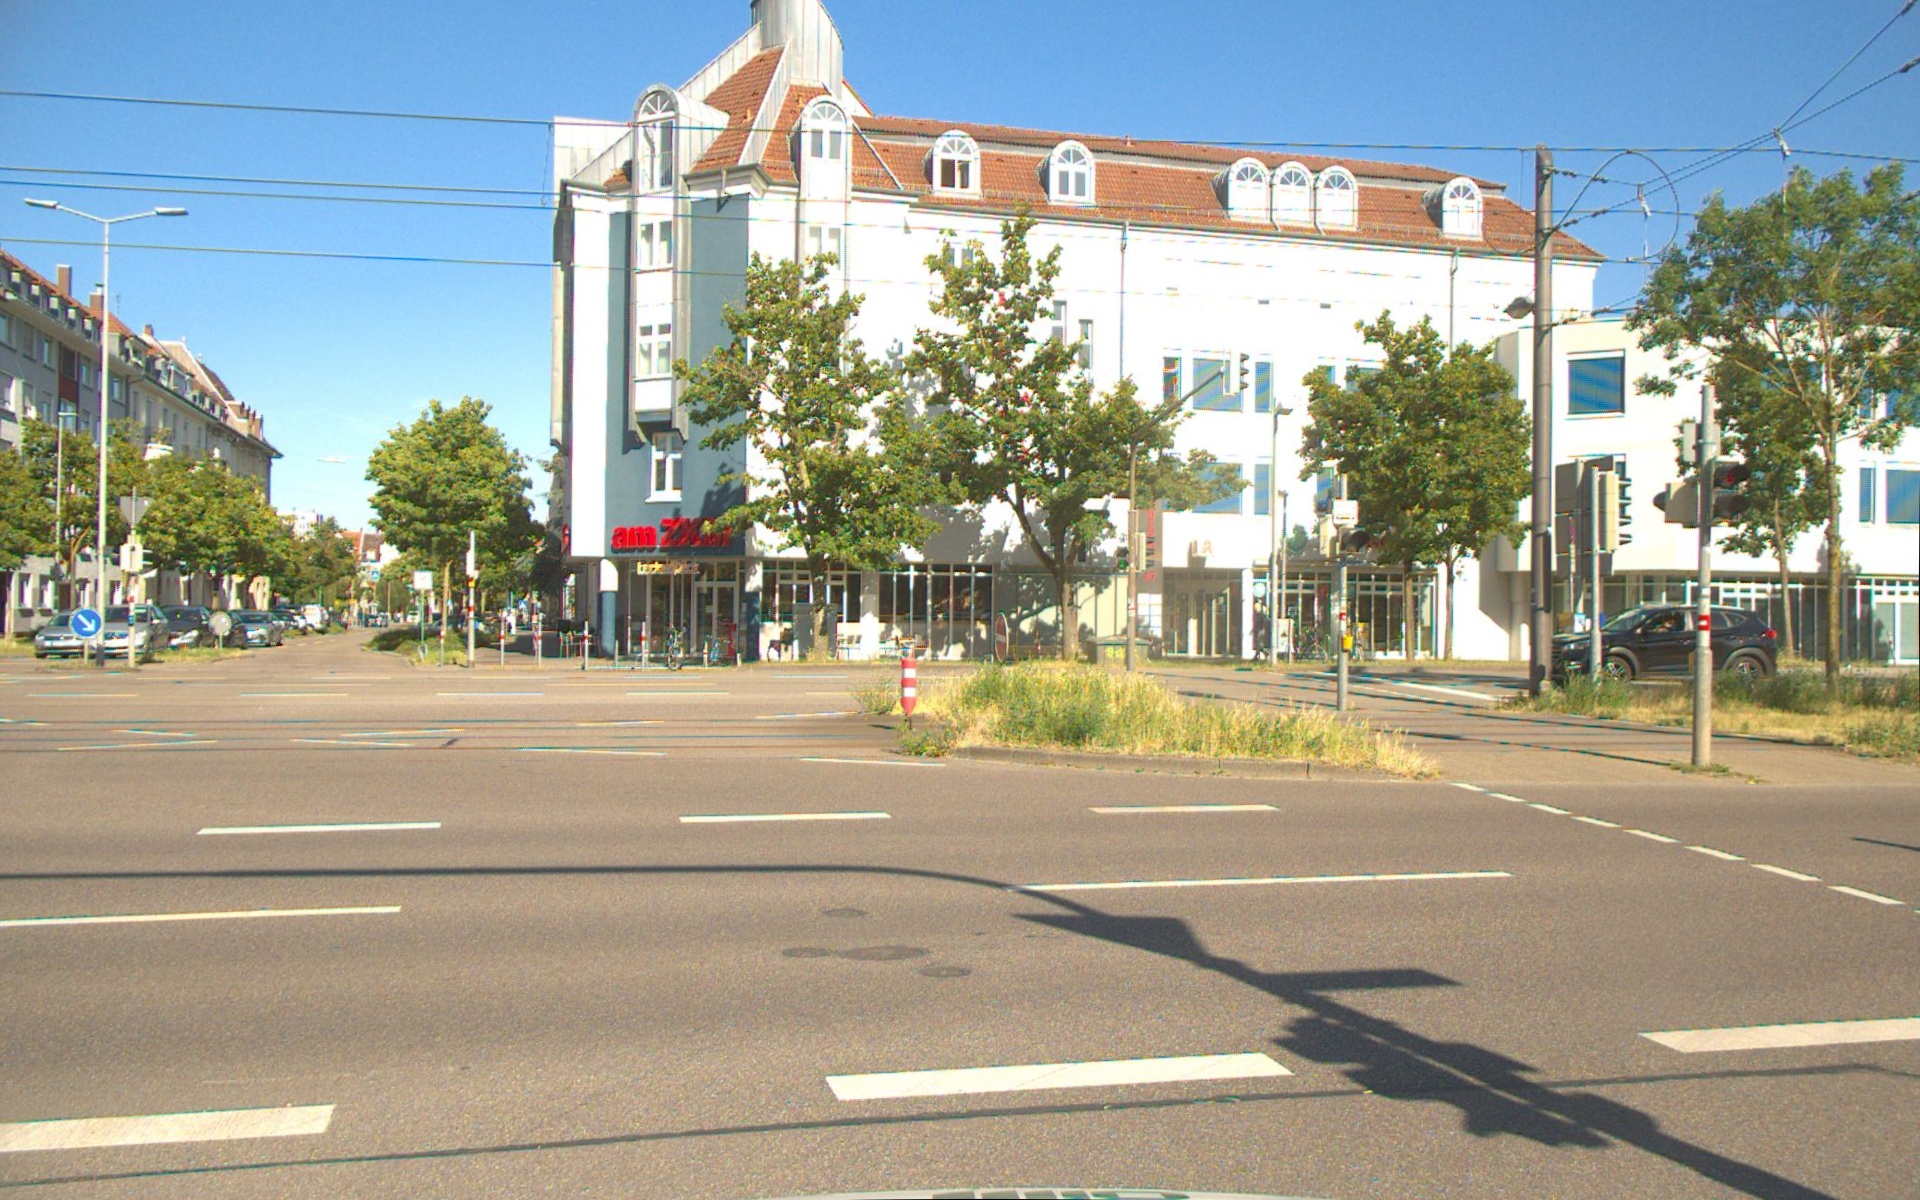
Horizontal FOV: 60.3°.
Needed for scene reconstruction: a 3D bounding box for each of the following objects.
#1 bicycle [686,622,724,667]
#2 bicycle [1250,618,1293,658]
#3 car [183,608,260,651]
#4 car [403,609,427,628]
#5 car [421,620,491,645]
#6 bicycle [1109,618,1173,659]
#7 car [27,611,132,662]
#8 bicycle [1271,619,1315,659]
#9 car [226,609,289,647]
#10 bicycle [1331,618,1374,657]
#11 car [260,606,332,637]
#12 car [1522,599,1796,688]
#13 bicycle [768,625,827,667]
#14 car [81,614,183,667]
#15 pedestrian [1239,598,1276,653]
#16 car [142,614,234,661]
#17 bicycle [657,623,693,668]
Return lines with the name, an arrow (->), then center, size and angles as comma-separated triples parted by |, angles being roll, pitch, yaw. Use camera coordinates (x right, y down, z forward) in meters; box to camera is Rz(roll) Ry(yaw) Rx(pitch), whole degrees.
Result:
bicycle -> -6.137, 1.066, 39.780 | 0.466, 1.045, 1.503 | 0, -1, -26
bicycle -> 9.657, 1.166, 51.373 | 0.551, 1.203, 1.861 | 0, -1, -16
car -> -27.562, 1.110, 61.825 | 1.658, 1.457, 4.386 | 3, -2, -12
car -> -55.768, 1.925, 169.345 | 1.960, 1.787, 4.501 | 1, -2, -15
car -> -26.968, 1.747, 88.592 | 3.509, 1.245, 1.723 | 1, -2, -16
bicycle -> 5.372, 1.147, 49.004 | 1.835, 1.203, 0.559 | 0, -1, -19
car -> -27.532, 1.133, 51.858 | 1.658, 1.457, 4.386 | 3, -2, -12
bicycle -> 10.434, 1.211, 51.902 | 0.551, 1.203, 1.861 | 0, -1, -16
car -> -29.688, 1.184, 70.025 | 1.659, 1.457, 4.384 | 3, -2, -13
bicycle -> 12.316, 1.162, 51.982 | 0.550, 1.203, 1.863 | 0, -1, -13
car -> -46.260, 1.518, 115.244 | 4.434, 2.049, 1.990 | 1, -2, -18
car -> 13.297, 0.820, 31.611 | 4.414, 1.638, 1.997 | 0, -1, -6
bicycle -> -4.125, 1.165, 42.117 | 1.481, 1.045, 0.472 | 0, -1, -5
car -> -24.670, 1.193, 49.435 | 1.659, 1.457, 4.384 | 3, -2, -13
pedestrian -> 9.526, 0.813, 52.956 | 0.973, 1.753, 0.651 | 0, -1, -16
car -> -26.007, 1.249, 55.855 | 1.658, 1.457, 4.388 | 3, -2, -11
bicycle -> -6.742, 1.063, 39.079 | 0.465, 1.045, 1.504 | 0, -1, -25
